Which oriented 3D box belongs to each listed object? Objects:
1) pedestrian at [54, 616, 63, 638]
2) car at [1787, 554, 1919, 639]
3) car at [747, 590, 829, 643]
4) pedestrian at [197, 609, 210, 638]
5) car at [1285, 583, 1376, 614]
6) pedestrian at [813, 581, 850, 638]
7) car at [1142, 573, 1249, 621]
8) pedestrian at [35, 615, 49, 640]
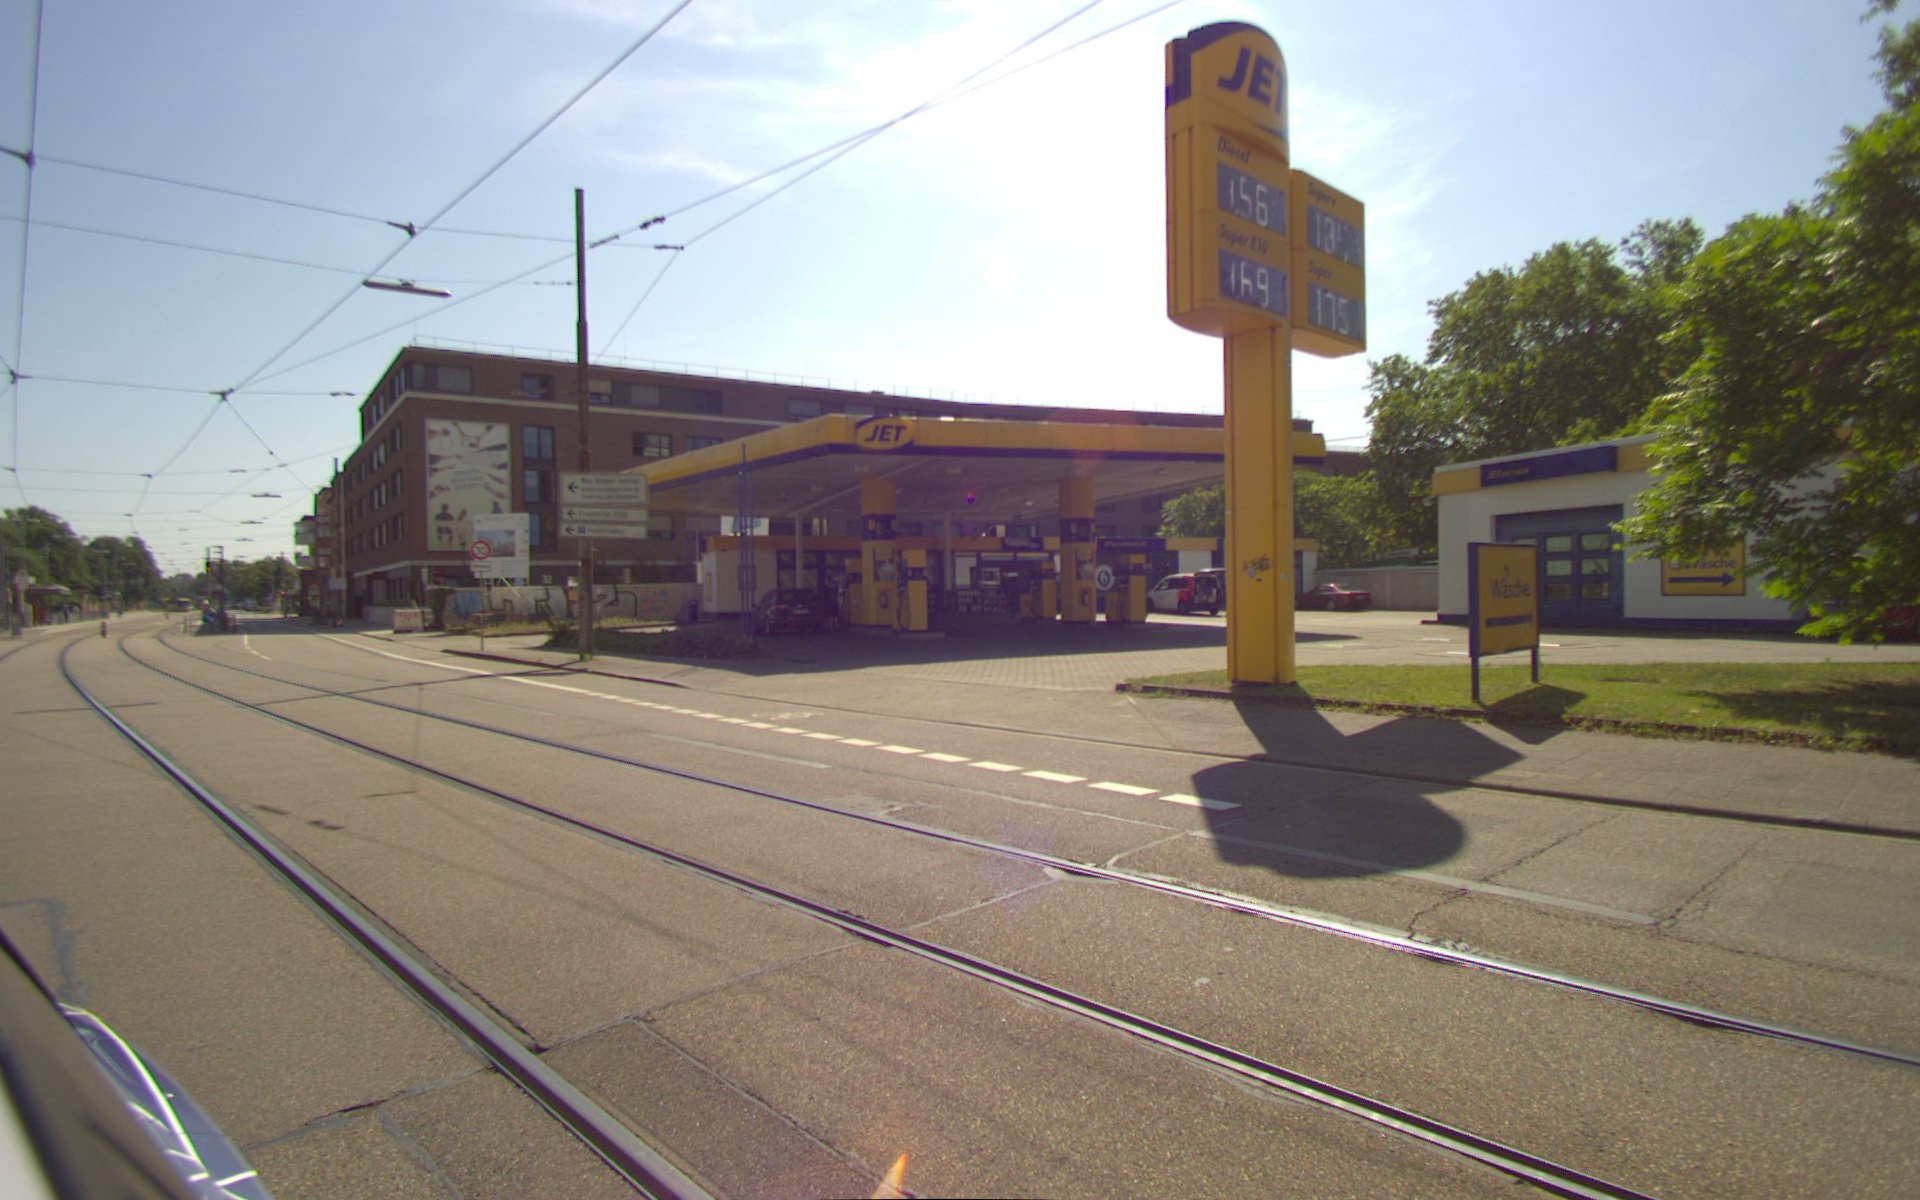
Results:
[{"bbox_3d":[-71.459,2.147,80.175,0.707,1.702,0.411,-1,0,39],"label":"pedestrian"},{"bbox_3d":[18.221,-0.095,19.095,4.478,1.471,1.898,-2,-1,-18],"label":"car"},{"bbox_3d":[-5.664,0.556,32.921,1.731,1.466,4.423,-5,0,-21],"label":"car"},{"bbox_3d":[-47.469,1.490,63.519,0.549,1.773,0.794,-2,0,-43],"label":"pedestrian"},{"bbox_3d":[17.778,-0.072,48.763,1.731,1.370,4.146,-2,0,-22],"label":"car"},{"bbox_3d":[-4.056,0.299,32.005,0.845,1.738,0.746,-2,0,-41],"label":"pedestrian"},{"bbox_3d":[10.411,-0.129,45.204,1.731,1.997,5.325,-2,0,-24],"label":"car"},{"bbox_3d":[-64.889,1.948,71.499,0.697,1.702,0.417,-1,0,-45],"label":"pedestrian"}]
